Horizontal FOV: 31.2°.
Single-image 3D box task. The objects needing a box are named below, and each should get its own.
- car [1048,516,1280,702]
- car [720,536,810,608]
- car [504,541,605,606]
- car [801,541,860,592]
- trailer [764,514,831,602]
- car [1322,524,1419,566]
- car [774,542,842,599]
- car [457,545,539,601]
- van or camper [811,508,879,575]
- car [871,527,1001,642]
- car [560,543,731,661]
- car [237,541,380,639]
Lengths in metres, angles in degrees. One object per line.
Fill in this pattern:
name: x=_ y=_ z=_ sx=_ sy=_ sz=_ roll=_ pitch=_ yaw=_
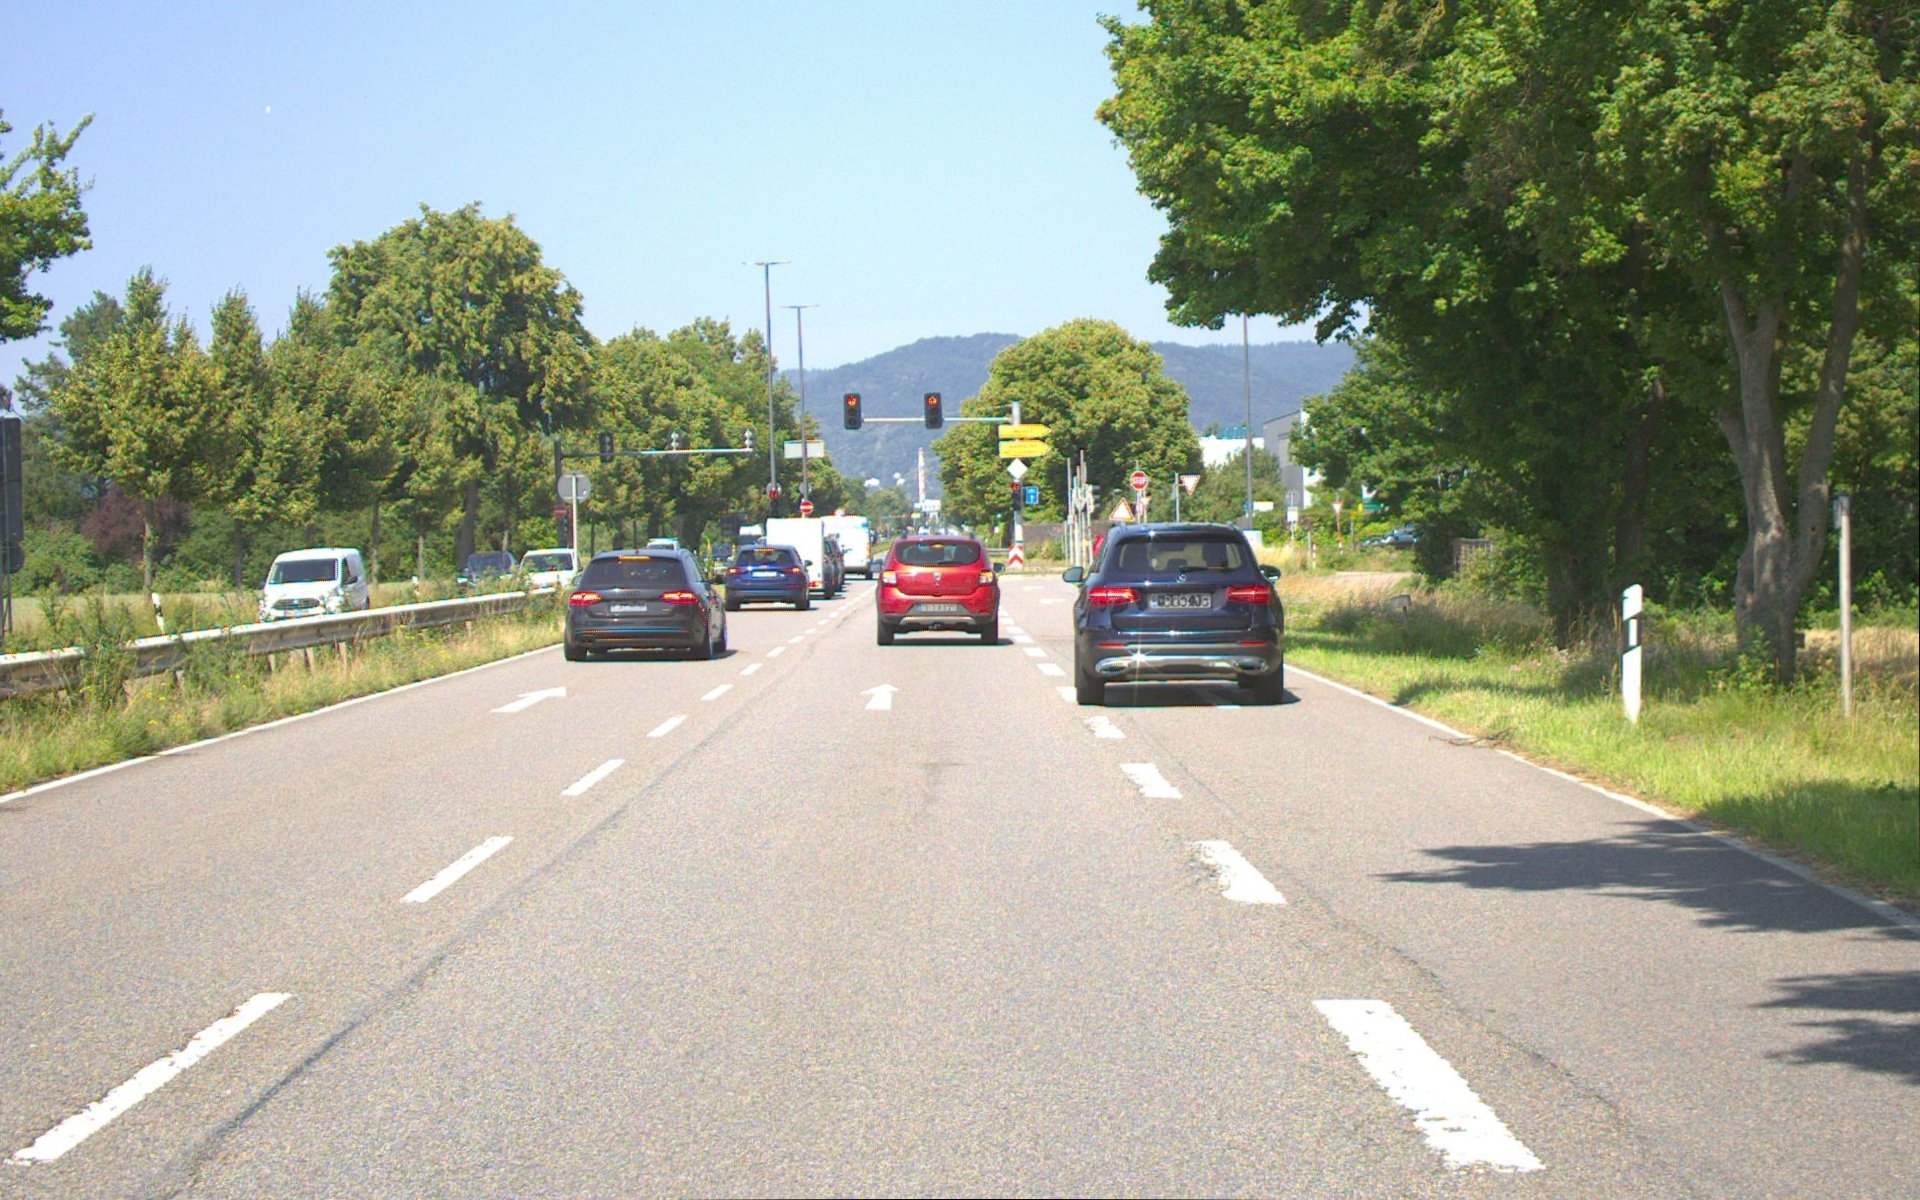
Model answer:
car: x=1.839 y=0.033 z=32.189 sx=1.993 sy=1.611 sz=4.339 roll=0 pitch=1 yaw=1
car: x=-4.210 y=-0.622 z=74.708 sx=1.717 sy=1.460 sz=4.030 roll=-2 pitch=1 yaw=0
car: x=-10.235 y=-0.691 z=87.115 sx=1.993 sy=1.551 sz=4.481 roll=-1 pitch=1 yaw=0
car: x=-4.241 y=-1.104 z=112.824 sx=1.724 sy=1.594 sz=3.955 roll=-2 pitch=1 yaw=0
trailer: x=-4.170 y=-1.079 z=88.512 sx=1.500 sy=2.166 sz=4.174 roll=-2 pitch=1 yaw=-1
car: x=17.136 y=-2.297 z=143.349 sx=3.820 sy=1.575 sz=2.073 roll=-2 pitch=1 yaw=11
car: x=-4.380 y=-0.865 z=99.359 sx=1.723 sy=1.570 sz=3.892 roll=-1 pitch=1 yaw=0
car: x=-14.279 y=-0.845 z=106.438 sx=1.993 sy=1.657 sz=4.481 roll=-1 pitch=1 yaw=-1
van or camper: x=-4.134 y=-2.131 z=124.166 sx=2.179 sy=2.295 sz=4.827 roll=-2 pitch=1 yaw=1
car: x=-0.303 y=-0.251 z=49.215 sx=1.749 sy=1.570 sz=3.676 roll=0 pitch=1 yaw=1
car: x=-3.970 y=-0.014 z=43.987 sx=1.740 sy=1.376 sz=4.455 roll=-2 pitch=1 yaw=0
car: x=-14.011 y=-0.258 z=74.191 sx=1.993 sy=1.954 sz=4.927 roll=-3 pitch=1 yaw=1
